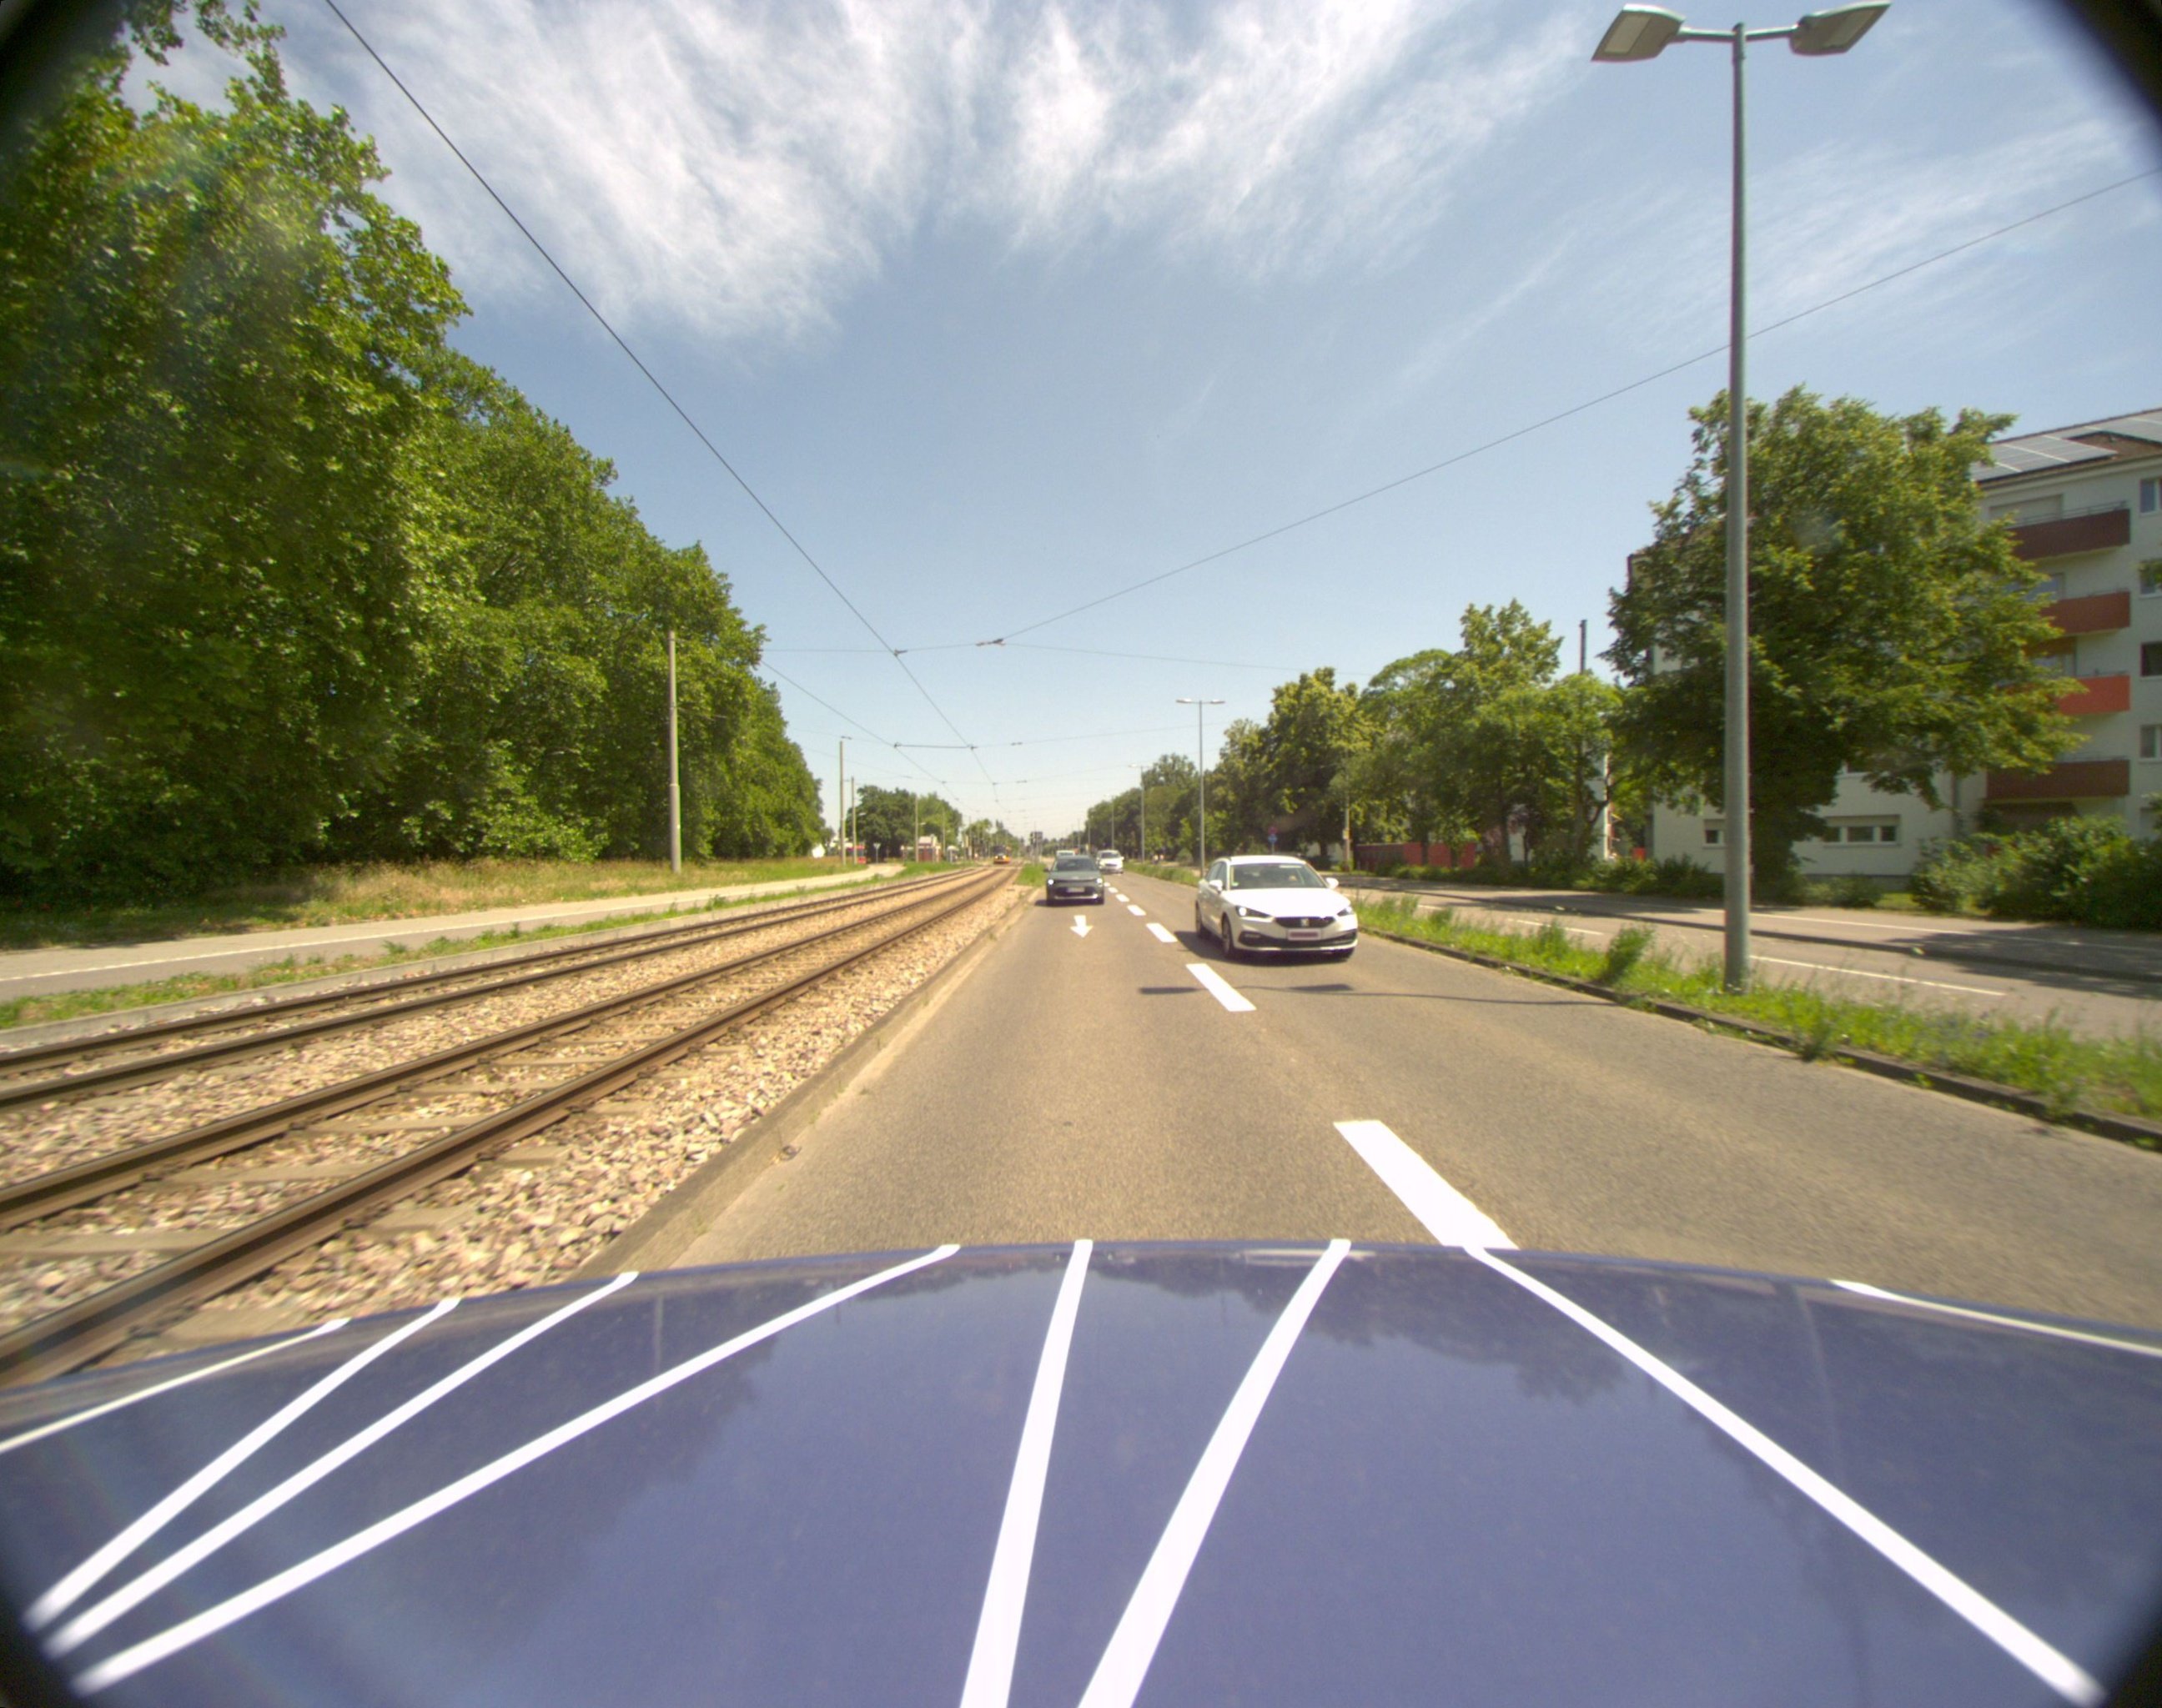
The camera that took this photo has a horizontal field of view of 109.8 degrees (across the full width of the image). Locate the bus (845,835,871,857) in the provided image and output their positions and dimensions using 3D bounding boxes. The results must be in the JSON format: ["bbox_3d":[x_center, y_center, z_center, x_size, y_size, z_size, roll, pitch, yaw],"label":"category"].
[{"bbox_3d":[-37.524,-1.331,127.506,2.771,3.420,12.419,-3,2,-22],"label":"bus"}]

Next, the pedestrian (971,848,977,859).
[{"bbox_3d":[-17.265,-0.118,122.550,0.637,1.749,0.815,-3,2,-16],"label":"pedestrian"}]

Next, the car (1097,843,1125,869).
[{"bbox_3d":[2.372,0.143,60.543,1.999,2.002,3.999,0,1,-1],"label":"car"}]

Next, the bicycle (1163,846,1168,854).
[{"bbox_3d":[12.836,-0.638,115.901,0.555,1.088,1.379,-3,2,-2],"label":"bicycle"}]

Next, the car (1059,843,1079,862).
[{"bbox_3d":[-1.289,-0.187,80.592,1.922,2.002,3.998,-1,1,-4],"label":"car"}]

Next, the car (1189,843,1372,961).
[{"bbox_3d":[2.891,0.594,11.947,1.772,1.460,4.110,-3,1,0],"label":"car"}]

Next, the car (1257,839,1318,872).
[{"bbox_3d":[10.936,0.037,40.595,1.928,1.617,4.755,0,1,-1],"label":"car"}]

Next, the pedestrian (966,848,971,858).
[{"bbox_3d":[-21.045,-0.220,142.269,0.707,1.754,0.657,-1,1,-1],"label":"pedestrian"}]

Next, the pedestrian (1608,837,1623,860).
[{"bbox_3d":[34.586,-0.355,49.139,0.474,1.423,0.688,-1,1,1],"label":"pedestrian"}]

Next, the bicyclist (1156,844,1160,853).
[{"bbox_3d":[11.806,-0.828,116.305,0.546,1.338,0.755,-1,1,-4],"label":"bicyclist"}]

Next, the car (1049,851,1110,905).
[{"bbox_3d":[-0.078,0.716,24.860,1.788,1.554,4.134,-2,1,-1],"label":"car"}]

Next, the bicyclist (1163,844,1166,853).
[{"bbox_3d":[12.776,-0.877,116.039,0.358,1.384,0.440,-3,1,0],"label":"bicyclist"}]

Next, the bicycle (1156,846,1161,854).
[{"bbox_3d":[11.828,-0.618,115.797,0.590,1.126,1.614,-1,1,-3],"label":"bicycle"}]

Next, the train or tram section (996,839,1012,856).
[{"bbox_3d":[-14.710,-1.256,145.786,2.525,3.304,7.257,-1,1,-2],"label":"train or tram section"}]
